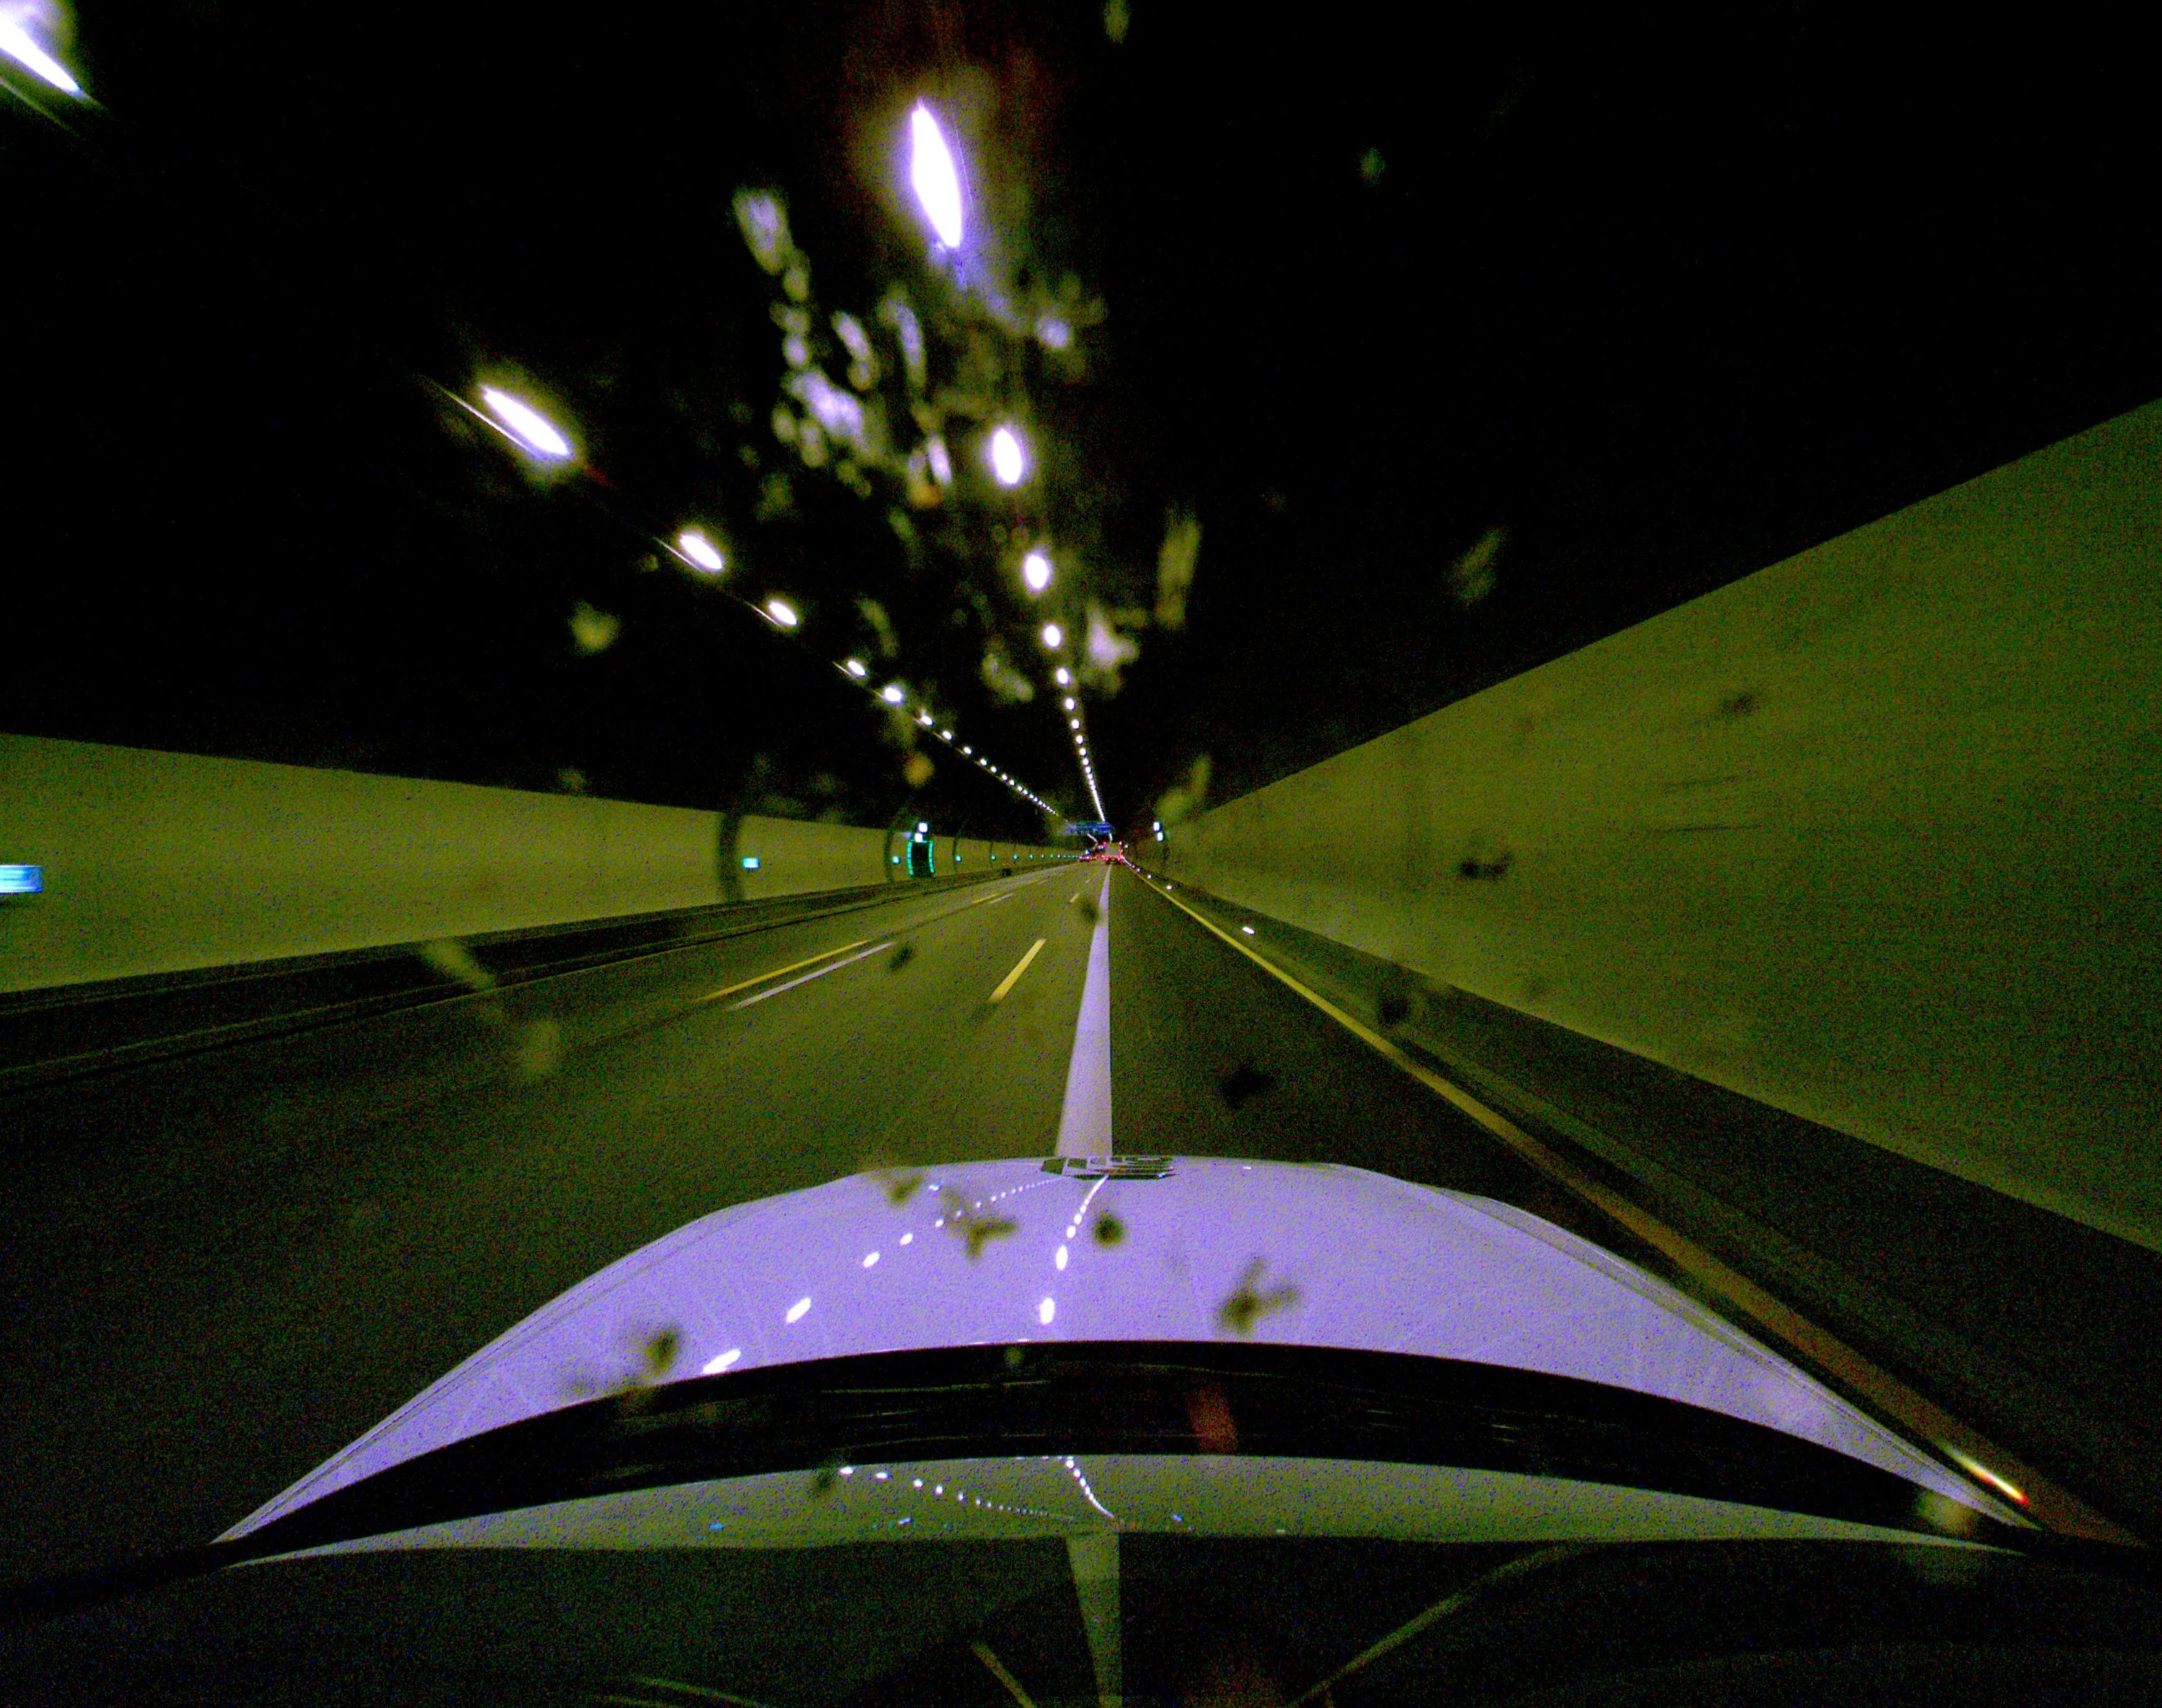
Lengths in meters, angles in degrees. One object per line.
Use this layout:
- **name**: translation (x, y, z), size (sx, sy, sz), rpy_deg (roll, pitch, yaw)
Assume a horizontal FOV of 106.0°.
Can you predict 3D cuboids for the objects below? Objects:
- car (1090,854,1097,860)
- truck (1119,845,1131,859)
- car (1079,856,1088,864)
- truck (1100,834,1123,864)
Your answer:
- **car**: translation (3.307, 0.762, 215.186), size (1.807, 1.520, 3.998), rpy_deg (0, 1, -1)
- **truck**: translation (13.409, -0.510, 249.948), size (2.912, 4.048, 14.031), rpy_deg (-2, 0, 1)
- **car**: translation (0.519, 1.193, 159.065), size (1.807, 1.618, 3.999), rpy_deg (0, 0, 0)
- **truck**: translation (5.072, -0.763, 136.842), size (3.267, 4.650, 17.287), rpy_deg (-2, 0, 1)
